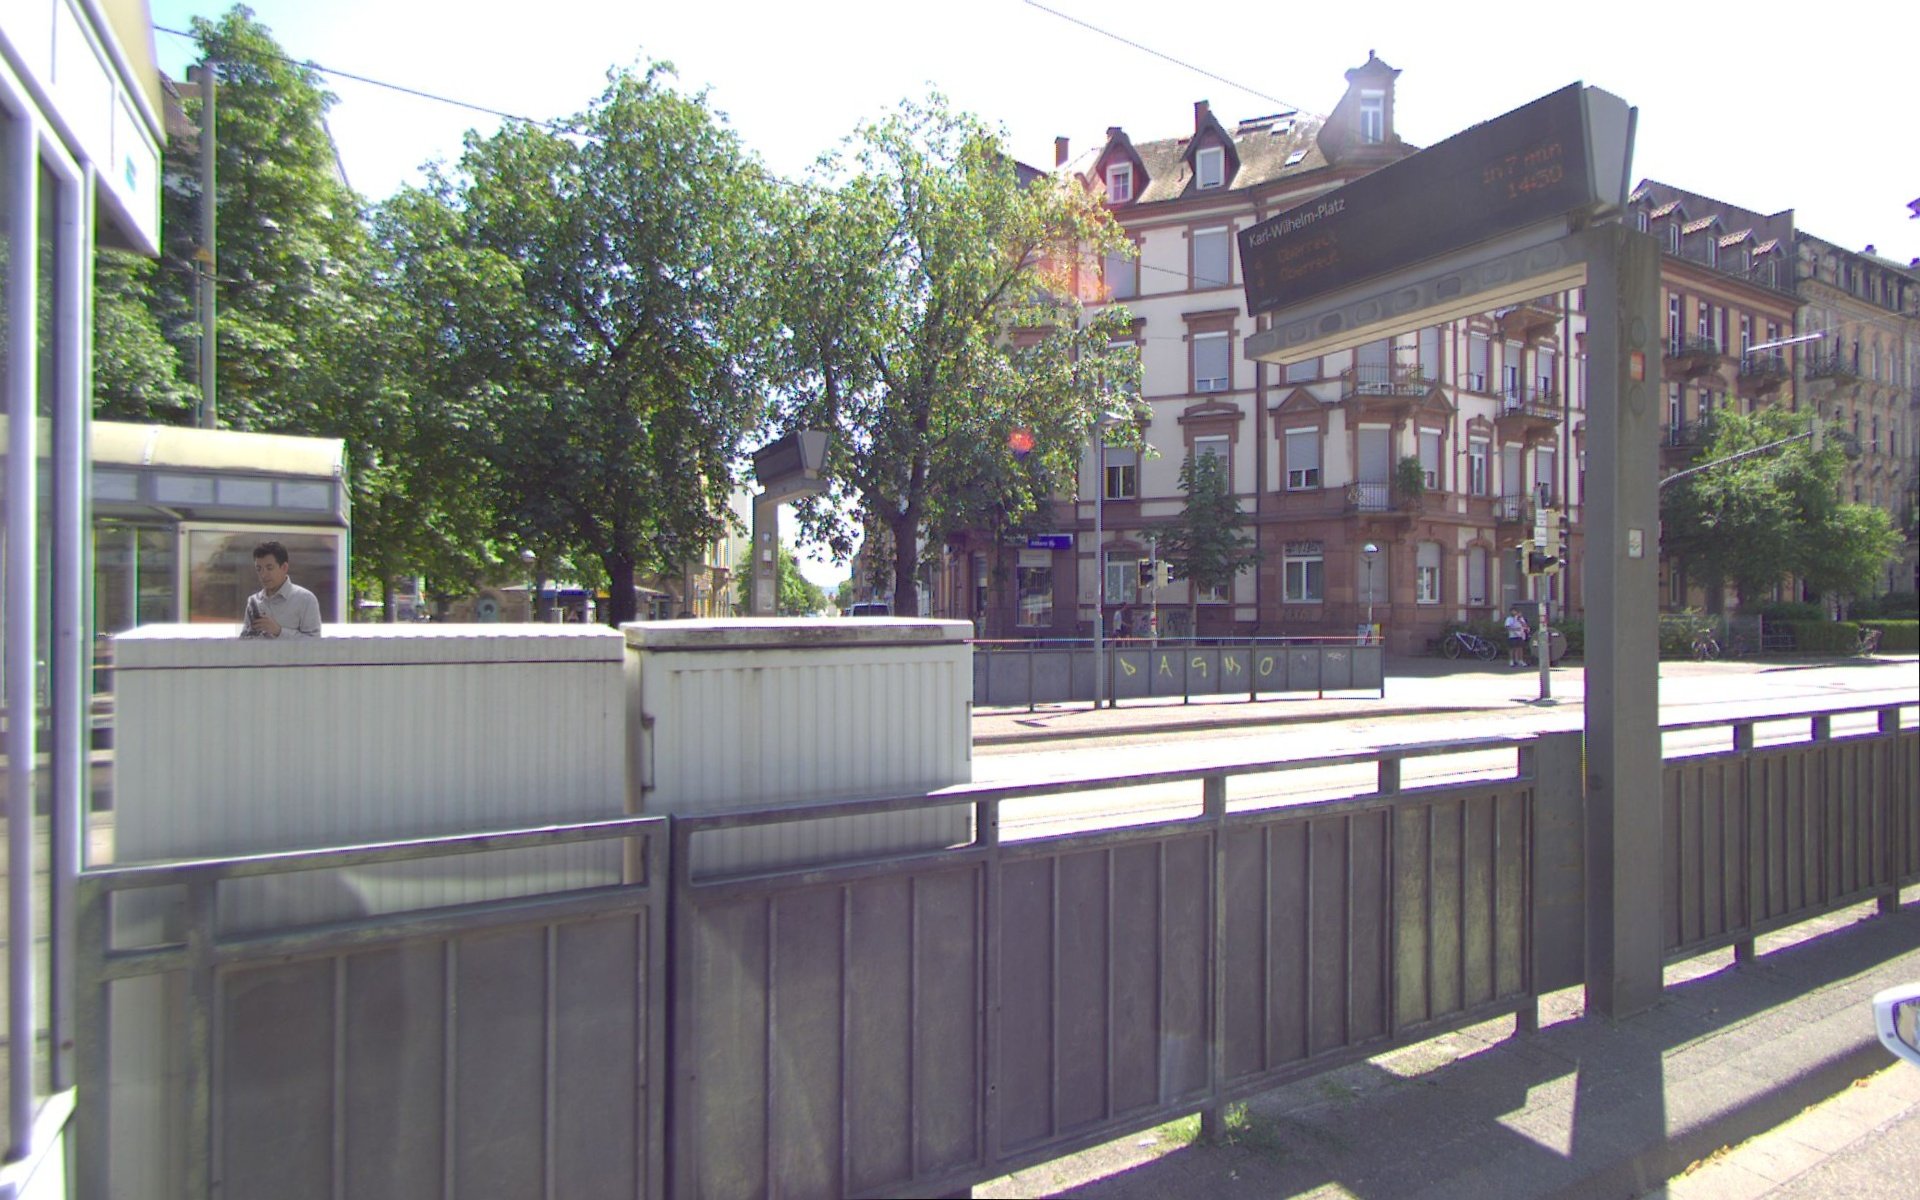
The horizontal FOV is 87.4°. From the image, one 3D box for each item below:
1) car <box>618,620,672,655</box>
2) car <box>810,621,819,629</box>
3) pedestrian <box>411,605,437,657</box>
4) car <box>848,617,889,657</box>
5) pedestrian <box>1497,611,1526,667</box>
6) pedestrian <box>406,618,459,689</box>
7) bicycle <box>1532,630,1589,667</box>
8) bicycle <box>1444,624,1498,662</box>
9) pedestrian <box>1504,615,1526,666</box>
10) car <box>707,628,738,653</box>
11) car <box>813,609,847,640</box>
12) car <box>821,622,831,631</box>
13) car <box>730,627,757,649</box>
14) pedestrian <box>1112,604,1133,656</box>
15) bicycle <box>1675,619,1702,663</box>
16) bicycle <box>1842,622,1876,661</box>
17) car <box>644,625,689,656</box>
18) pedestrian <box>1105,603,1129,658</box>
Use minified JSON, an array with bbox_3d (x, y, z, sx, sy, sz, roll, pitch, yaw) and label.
[{"bbox_3d":[-14.112,1.639,45.122,1.512,1.461,3.739,1,-1,-5],"label":"car"},{"bbox_3d":[-27.917,4.745,192.612,1.513,1.461,3.738,1,-1,-6],"label":"car"},{"bbox_3d":[-21.605,1.244,40.510,0.703,2.040,0.812,0,-1,-11],"label":"pedestrian"},{"bbox_3d":[-3.602,1.413,39.606,1.512,1.461,3.739,1,-1,-5],"label":"car"},{"bbox_3d":[16.610,1.176,30.259,0.640,1.637,0.469,1,2,18],"label":"pedestrian"},{"bbox_3d":[-9.999,0.993,19.053,0.607,1.304,0.646,1,0,21],"label":"pedestrian"},{"bbox_3d":[17.944,1.443,30.037,1.375,1.027,0.389,2,0,21],"label":"bicycle"},{"bbox_3d":[16.572,1.396,32.598,1.488,1.185,0.365,0,1,13],"label":"bicycle"},{"bbox_3d":[17.177,1.245,31.077,0.497,1.536,0.469,1,0,18],"label":"pedestrian"},{"bbox_3d":[-15.311,2.604,64.910,1.513,1.461,3.738,1,-1,-6],"label":"car"},{"bbox_3d":[-6.502,1.196,50.496,1.512,1.461,3.739,1,-1,-5],"label":"car"},{"bbox_3d":[-23.431,4.574,175.519,1.513,1.461,3.738,1,-1,-6],"label":"car"},{"bbox_3d":[-15.888,2.750,73.720,1.513,1.461,3.738,1,-1,-6],"label":"car"},{"bbox_3d":[5.703,1.034,35.194,0.500,1.791,0.527,1,0,39],"label":"pedestrian"},{"bbox_3d":[24.036,1.337,33.155,0.606,1.414,2.301,1,-1,34],"label":"bicycle"},{"bbox_3d":[33.188,1.508,37.094,0.583,1.374,2.433,1,-1,34],"label":"bicycle"},{"bbox_3d":[-15.498,2.118,53.163,1.512,1.461,3.739,1,-1,-5],"label":"car"},{"bbox_3d":[5.343,1.024,34.157,0.556,1.849,0.632,1,0,39],"label":"pedestrian"}]
